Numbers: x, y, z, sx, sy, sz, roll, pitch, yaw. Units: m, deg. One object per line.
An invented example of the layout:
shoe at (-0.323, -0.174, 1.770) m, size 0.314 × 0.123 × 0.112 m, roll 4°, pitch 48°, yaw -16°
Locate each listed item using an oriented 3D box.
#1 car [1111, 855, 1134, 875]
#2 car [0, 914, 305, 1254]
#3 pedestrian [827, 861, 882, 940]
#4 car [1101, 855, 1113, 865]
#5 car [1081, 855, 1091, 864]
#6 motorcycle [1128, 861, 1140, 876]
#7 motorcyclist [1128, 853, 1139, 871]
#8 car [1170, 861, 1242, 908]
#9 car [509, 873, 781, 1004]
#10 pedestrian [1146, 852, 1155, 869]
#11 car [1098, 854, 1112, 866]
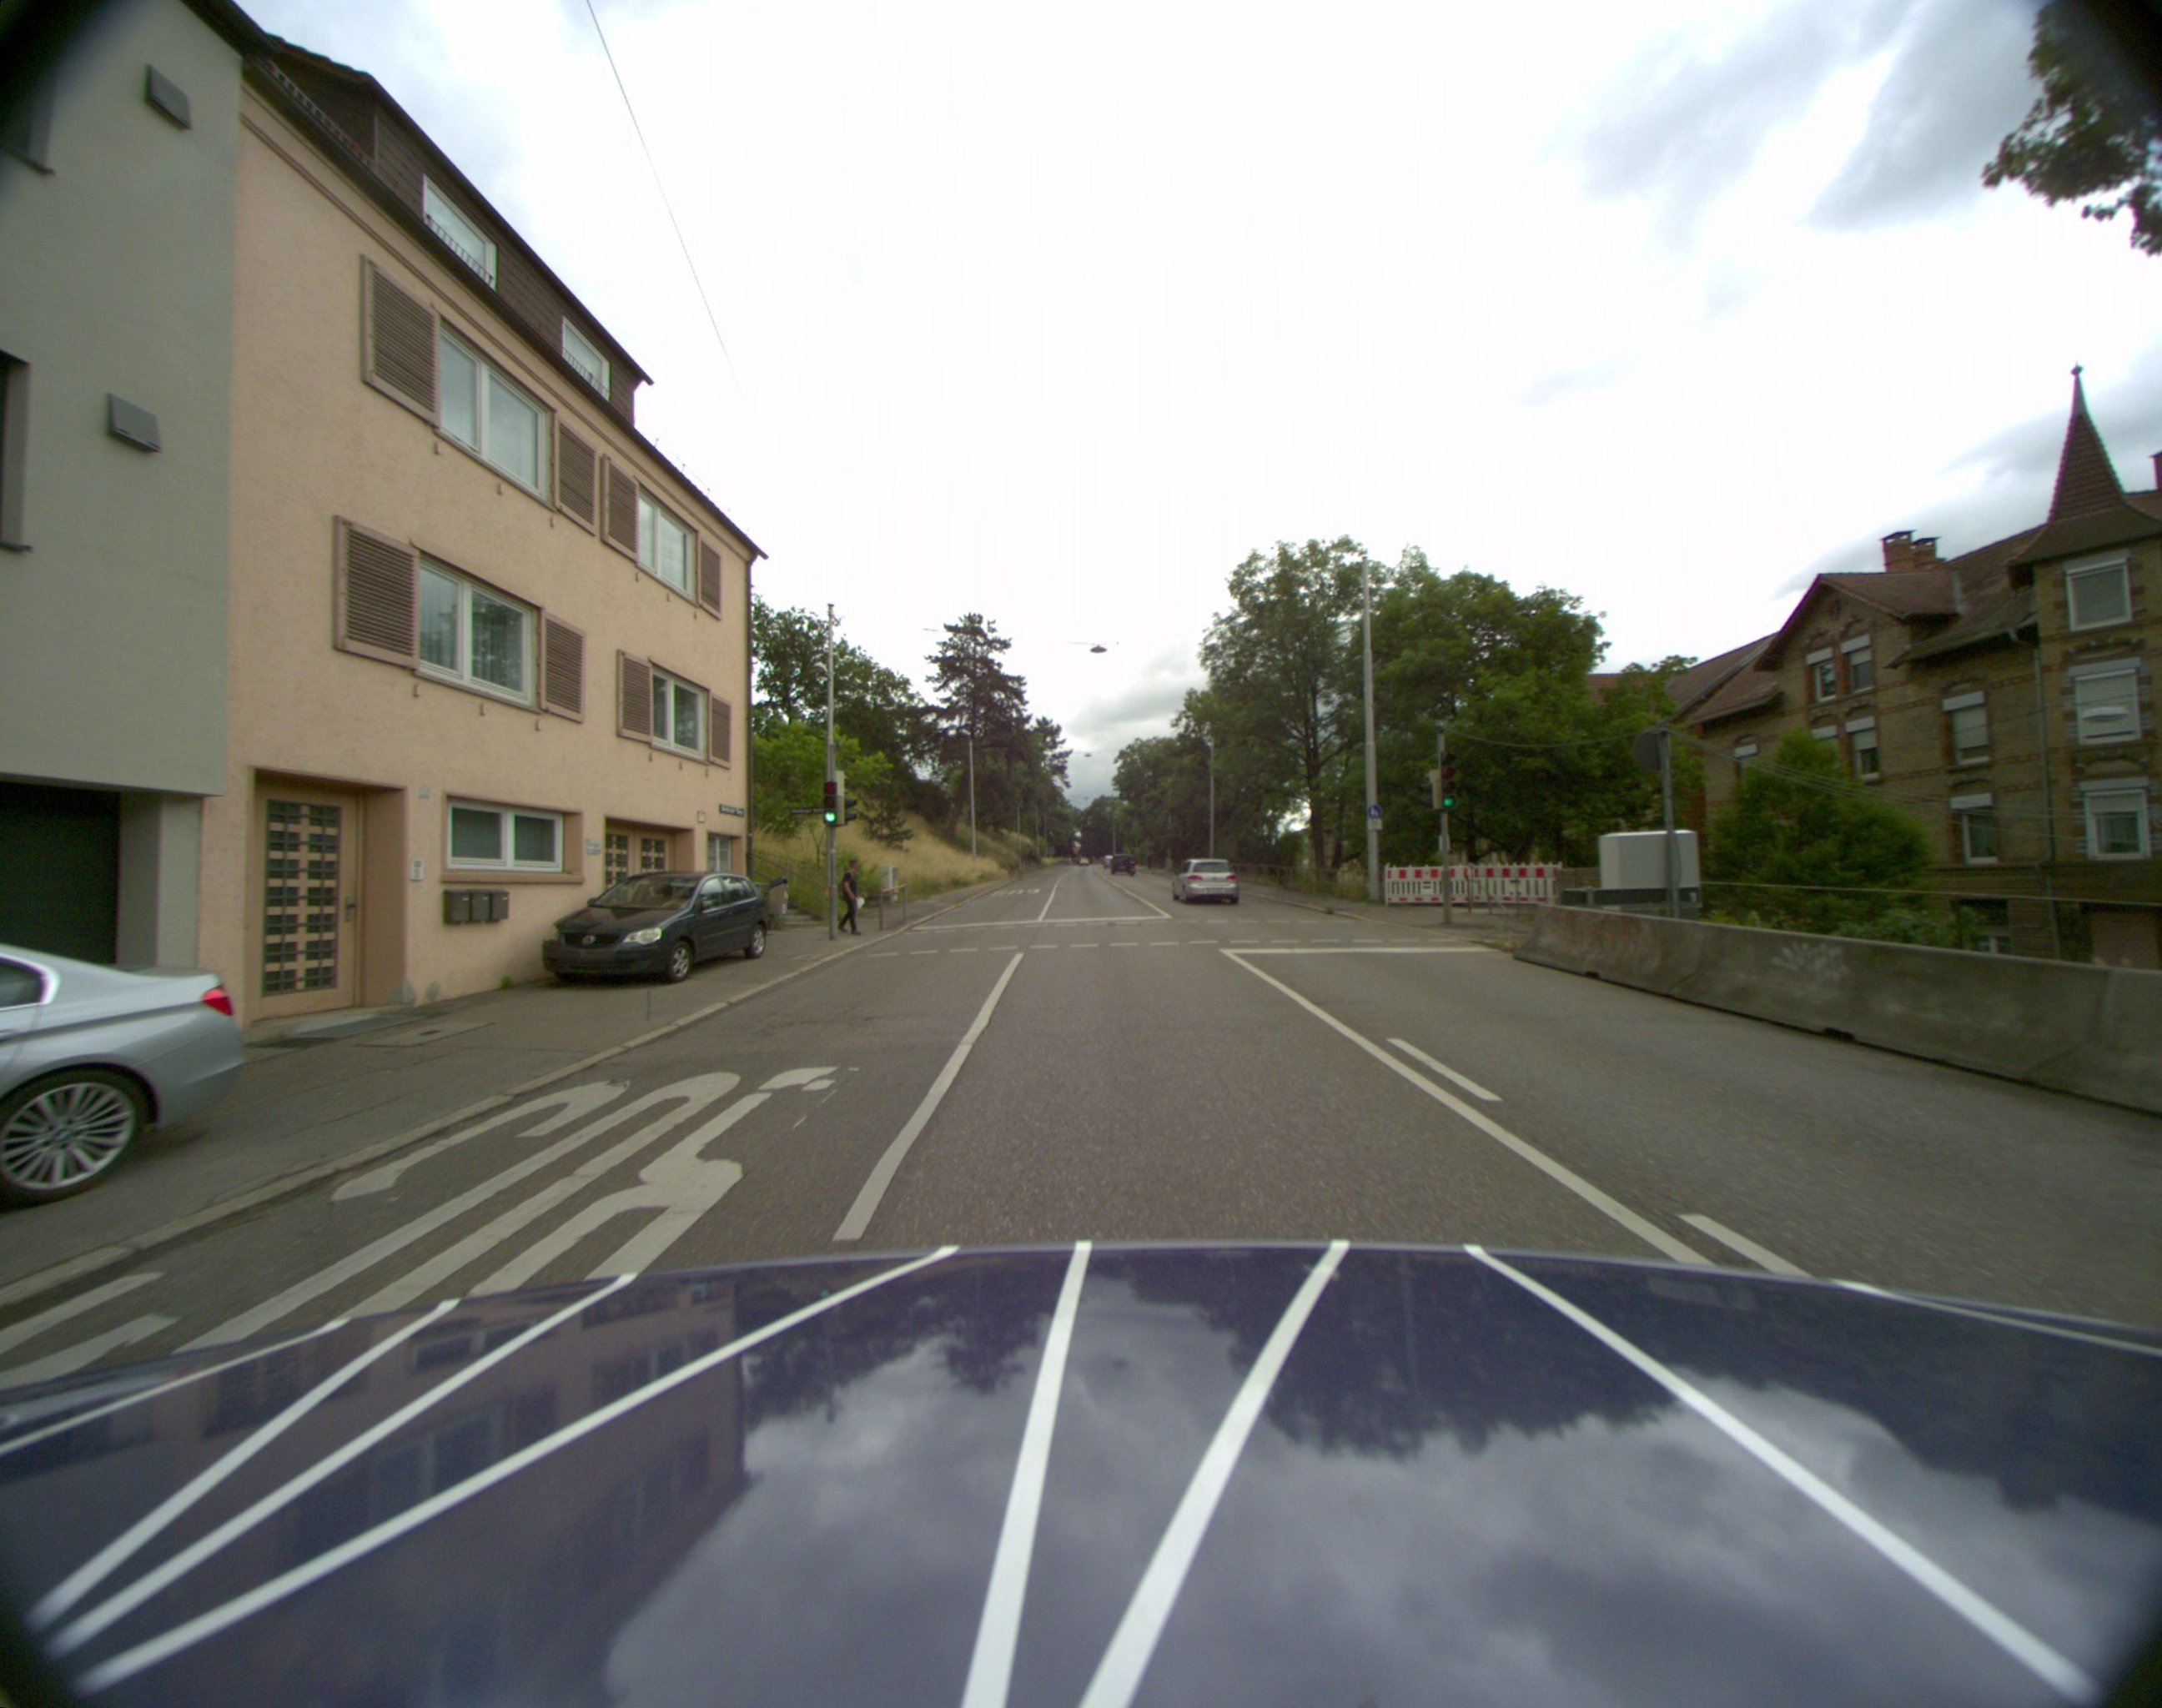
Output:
car at (3.737, 0.991, 68.934) m, size 1.788 × 1.735 × 4.428 m, roll 0°, pitch 0°, yaw -1°
car at (-5.973, 1.092, 2.493) m, size 1.798 × 1.442 × 4.720 m, roll 2°, pitch -1°, yaw 4°
pedestrian at (-5.115, 1.023, 17.131) m, size 0.875 × 1.686 × 0.887 m, roll 1°, pitch 0°, yaw -40°
car at (4.554, 1.086, 135.761) m, size 2.000 × 1.673 × 4.664 m, roll 0°, pitch -1°, yaw 0°
car at (0.913, 0.966, 134.471) m, size 1.788 × 1.565 × 4.281 m, roll 0°, pitch 0°, yaw 0°
motorcycle at (4.251, 1.172, 61.418) m, size 0.787 × 1.138 × 2.057 m, roll 0°, pitch 0°, yaw 0°
motorcyclist at (4.249, 0.646, 61.444) m, size 0.787 × 1.507 × 0.668 m, roll 0°, pitch 0°, yaw 0°
car at (4.129, 0.983, 25.691) m, size 1.725 × 1.436 × 4.159 m, roll 0°, pitch 0°, yaw 0°
car at (-6.160, 1.092, 11.353) m, size 1.686 × 1.442 × 4.000 m, roll 2°, pitch 0°, yaw 0°
pedestrian at (7.681, 0.708, 84.018) m, size 0.790 × 1.763 × 1.209 m, roll -4°, pitch 0°, yaw -2°
car at (3.324, 0.855, 105.144) m, size 1.788 × 1.565 × 4.281 m, roll 0°, pitch 0°, yaw 0°
